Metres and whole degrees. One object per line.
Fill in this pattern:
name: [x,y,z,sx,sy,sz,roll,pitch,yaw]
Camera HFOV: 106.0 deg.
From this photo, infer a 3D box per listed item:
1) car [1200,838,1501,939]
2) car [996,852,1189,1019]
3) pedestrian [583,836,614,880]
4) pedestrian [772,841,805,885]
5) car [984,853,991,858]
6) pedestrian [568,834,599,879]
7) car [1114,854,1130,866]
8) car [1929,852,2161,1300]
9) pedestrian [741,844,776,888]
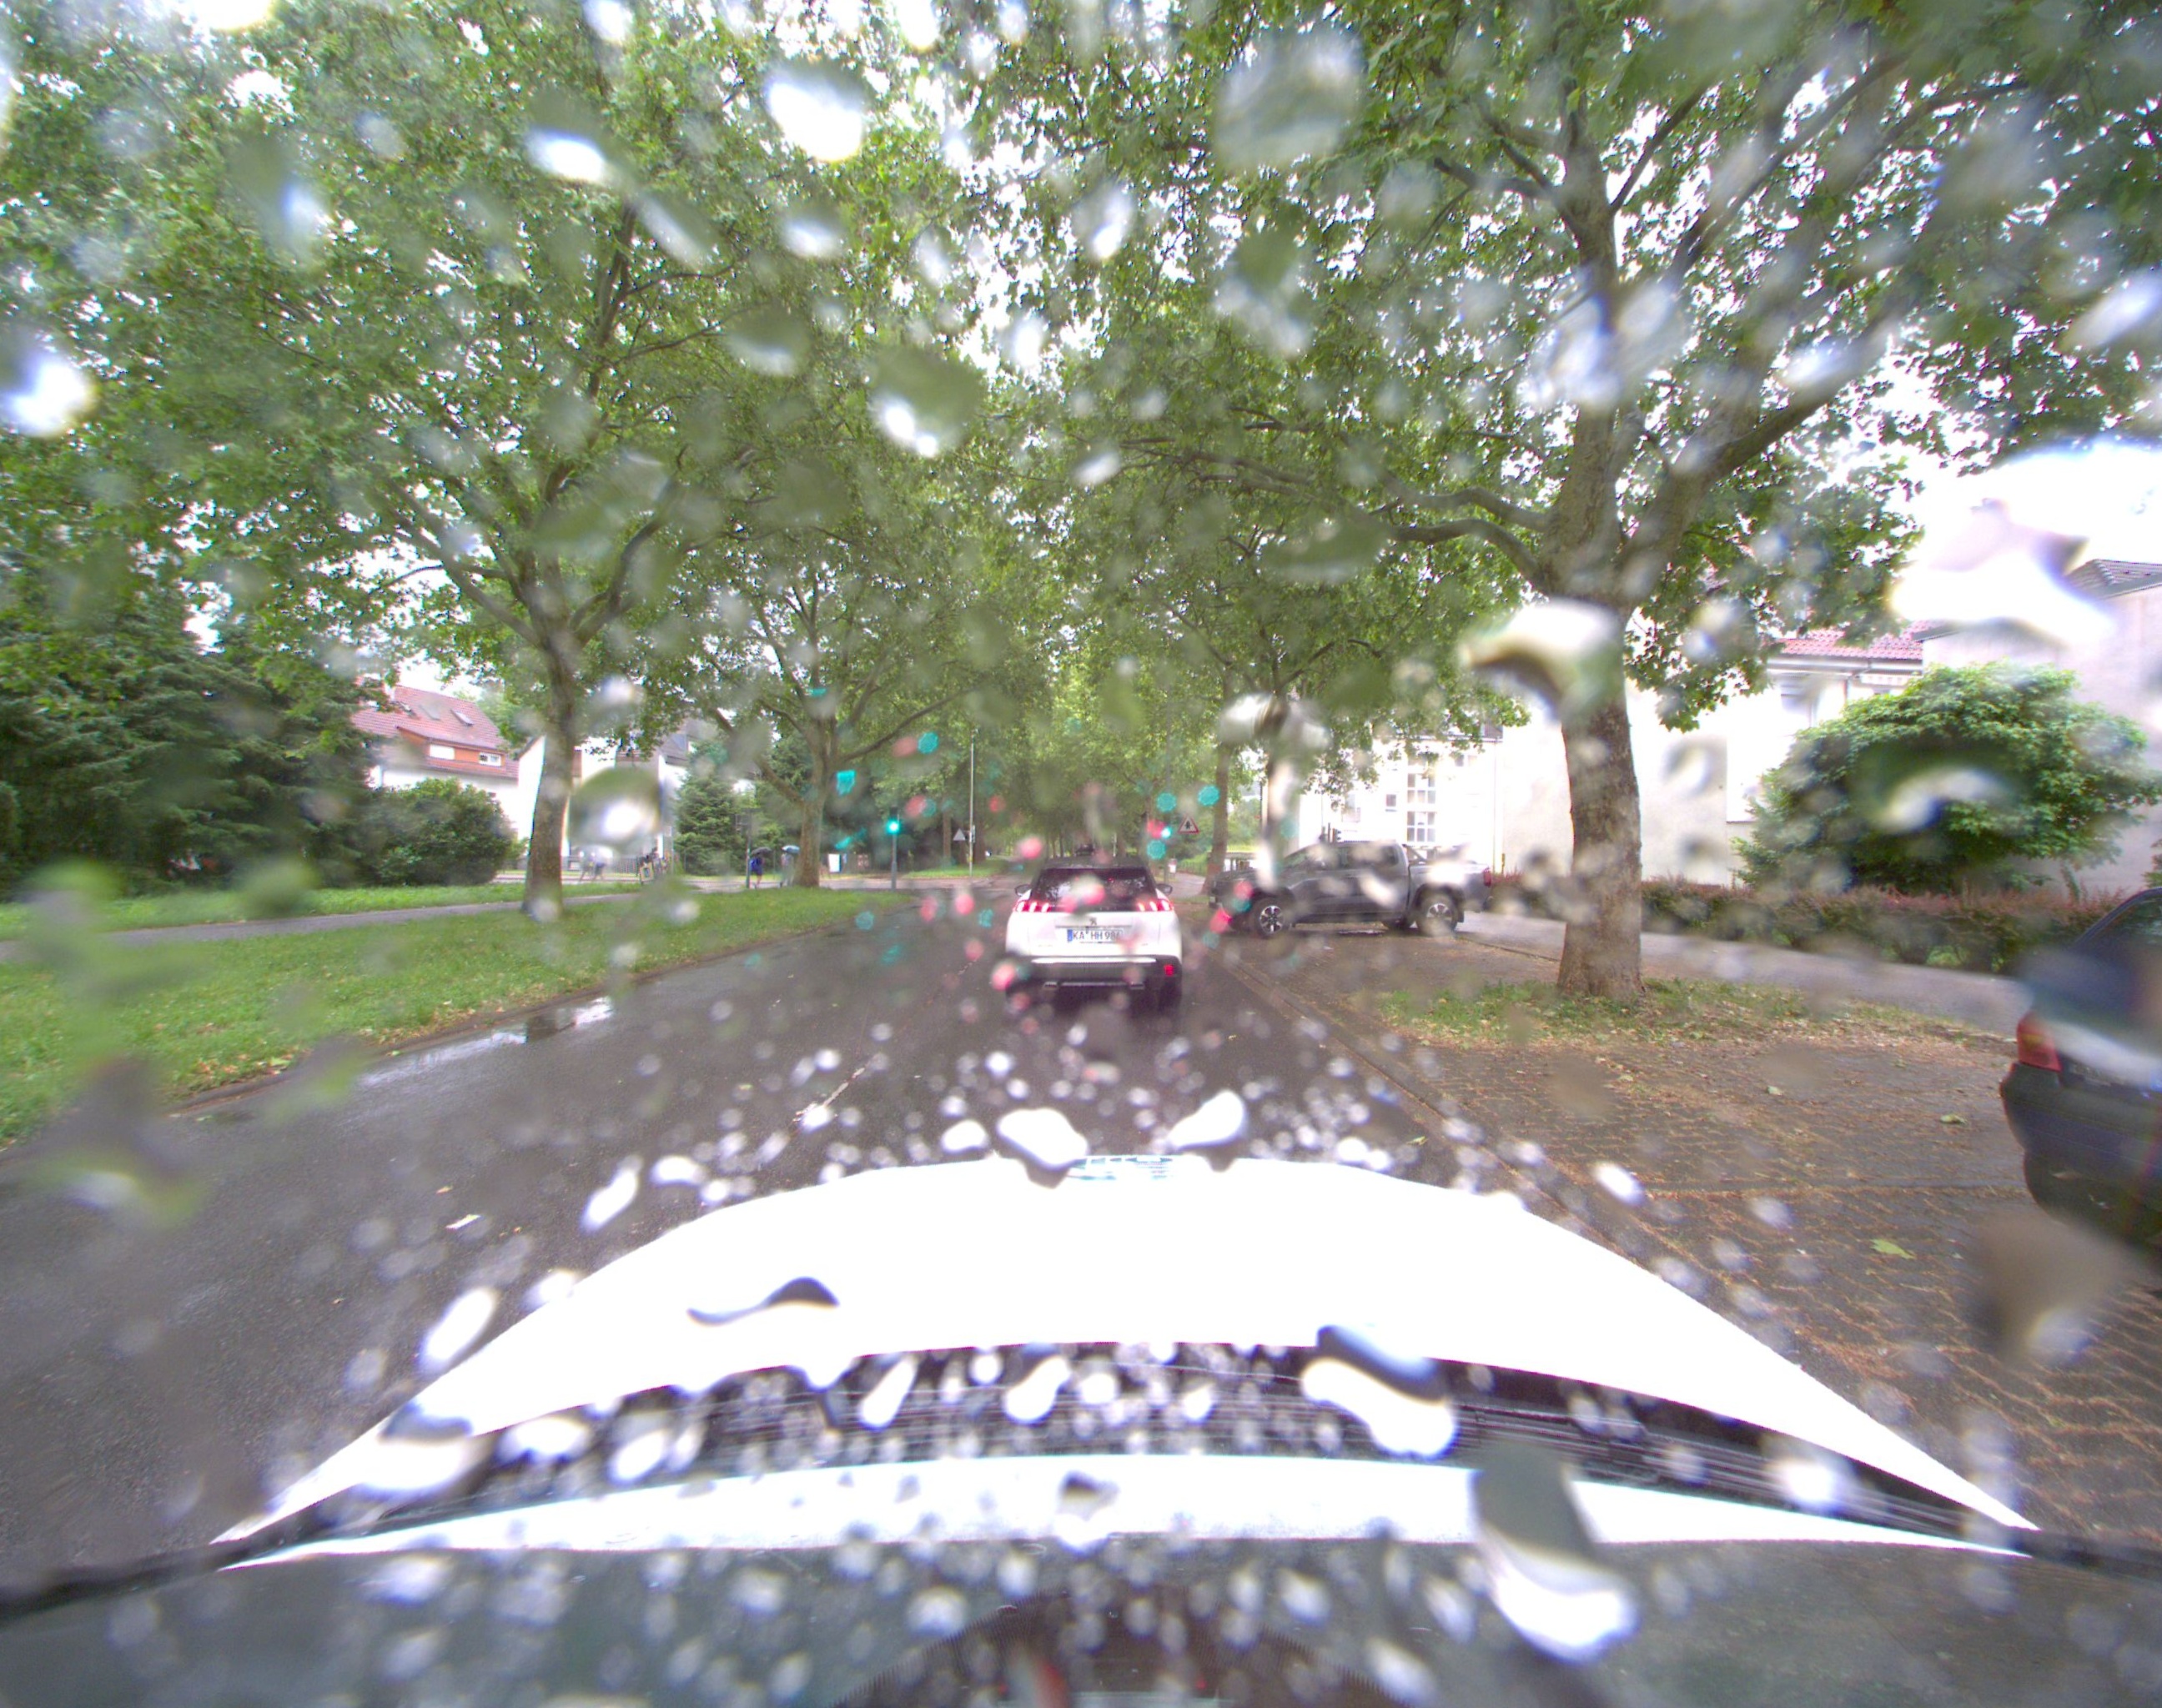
car: [5.169,0.613,15.968,5.330,1.806,1.842,0,0,-6]
car: [0.157,0.749,9.542,1.774,1.536,4.059,0,0,1]
pedestrian: [-19.610,0.161,33.104,0.856,1.744,0.639,1,0,-2]
pedestrian: [-11.899,0.362,33.169,1.029,1.765,0.838,0,0,1]
car: [-28.360,0.419,246.969,1.869,1.677,3.705,1,0,-2]
pedestrian: [-19.703,0.111,32.249,0.818,1.744,0.639,1,0,-2]
car: [5.579,0.806,111.637,1.901,1.510,3.928,1,0,-2]
car: [5.209,0.733,2.609,3.344,1.464,1.618,0,0,0]
pedestrian: [-13.126,0.469,33.155,1.029,1.765,0.879,0,0,1]
